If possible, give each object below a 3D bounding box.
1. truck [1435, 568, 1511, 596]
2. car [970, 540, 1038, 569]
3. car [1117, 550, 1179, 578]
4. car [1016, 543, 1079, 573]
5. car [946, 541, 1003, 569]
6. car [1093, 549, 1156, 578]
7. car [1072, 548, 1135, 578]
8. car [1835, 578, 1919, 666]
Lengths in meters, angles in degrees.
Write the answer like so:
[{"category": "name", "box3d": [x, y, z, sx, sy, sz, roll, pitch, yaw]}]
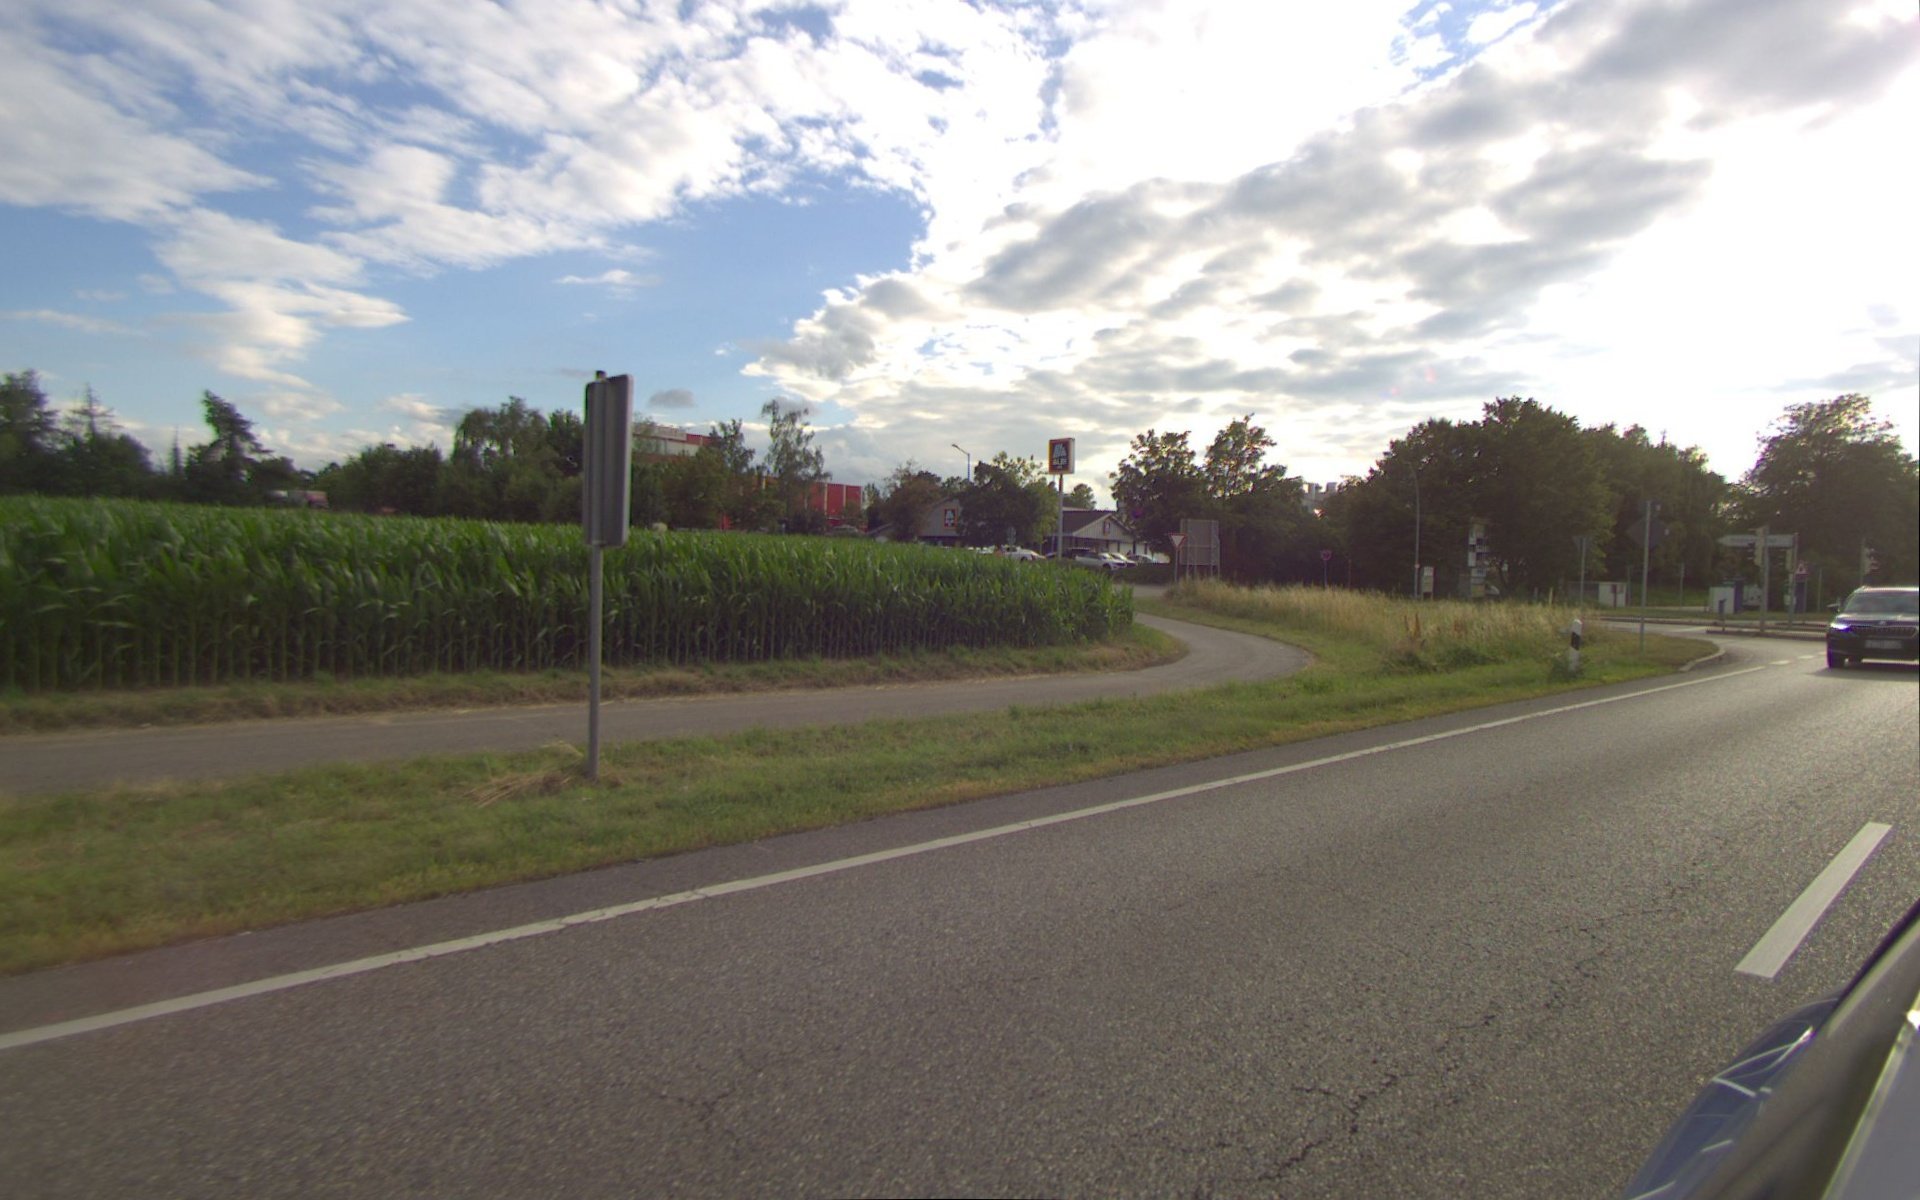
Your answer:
[{"category": "truck", "box3d": [37.565, -1.329, 74.159, 4.601, 2.022, 1.816, 1, 1, 14]}, {"category": "car", "box3d": [3.340, -3.388, 75.733, 1.993, 2.038, 5.531, 5, 4, 41]}, {"category": "car", "box3d": [14.461, -2.793, 77.954, 1.928, 1.906, 4.299, 0, 5, -43]}, {"category": "car", "box3d": [6.341, -3.062, 73.753, 1.928, 1.906, 4.299, 0, 5, -43]}, {"category": "car", "box3d": [1.114, -3.413, 77.267, 1.954, 1.906, 4.241, 6, 5, 42]}, {"category": "car", "box3d": [12.320, -2.734, 75.934, 1.928, 1.874, 4.299, 0, 5, -43]}, {"category": "car", "box3d": [10.502, -2.720, 74.375, 1.928, 1.906, 4.299, 0, 5, -43]}, {"category": "car", "box3d": [19.686, 0.408, 20.955, 4.404, 1.670, 1.847, 0, 1, -42]}]
